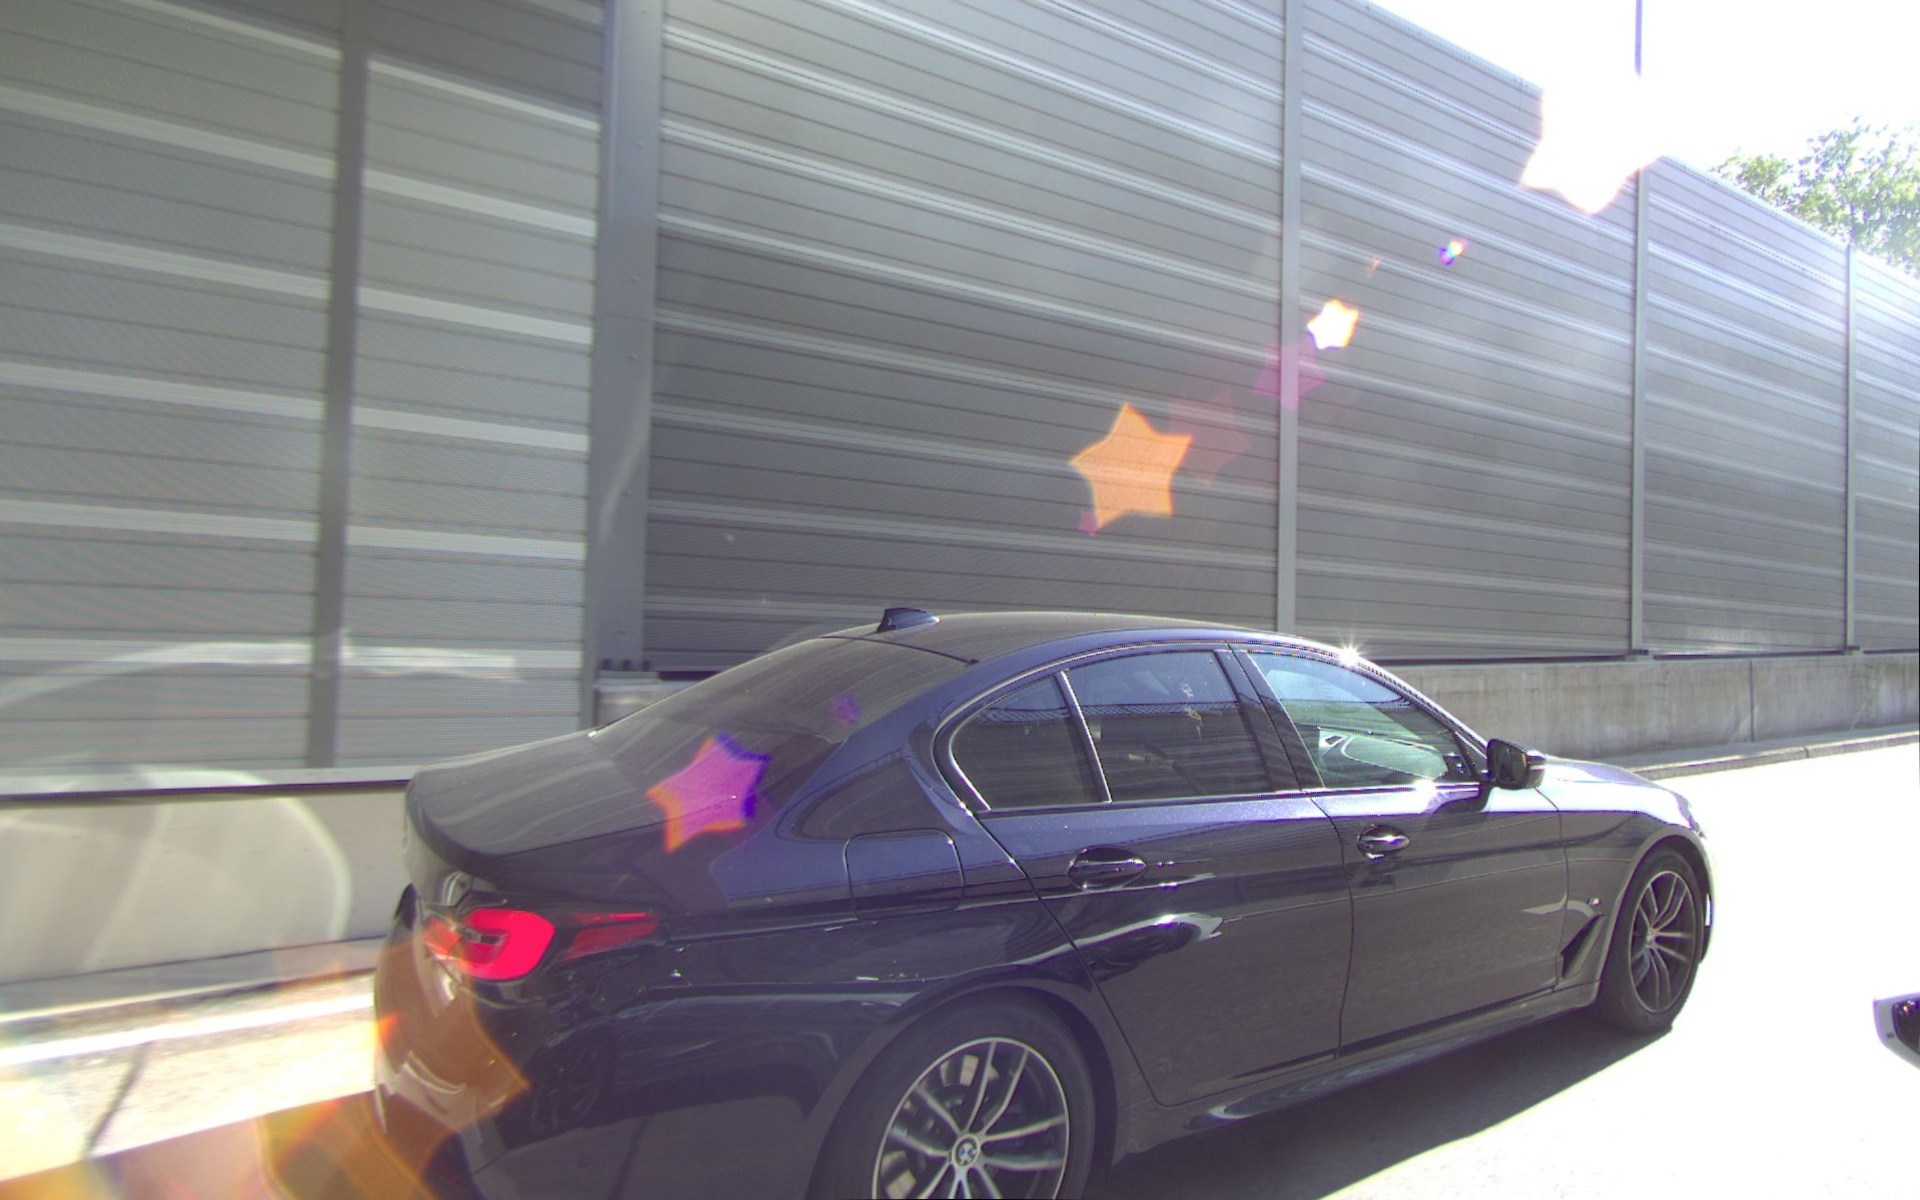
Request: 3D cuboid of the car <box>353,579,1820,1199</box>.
[{"bbox_3d":[0.811,0.772,3.500,4.944,1.458,1.800,2,-1,-30],"label":"car"}]
